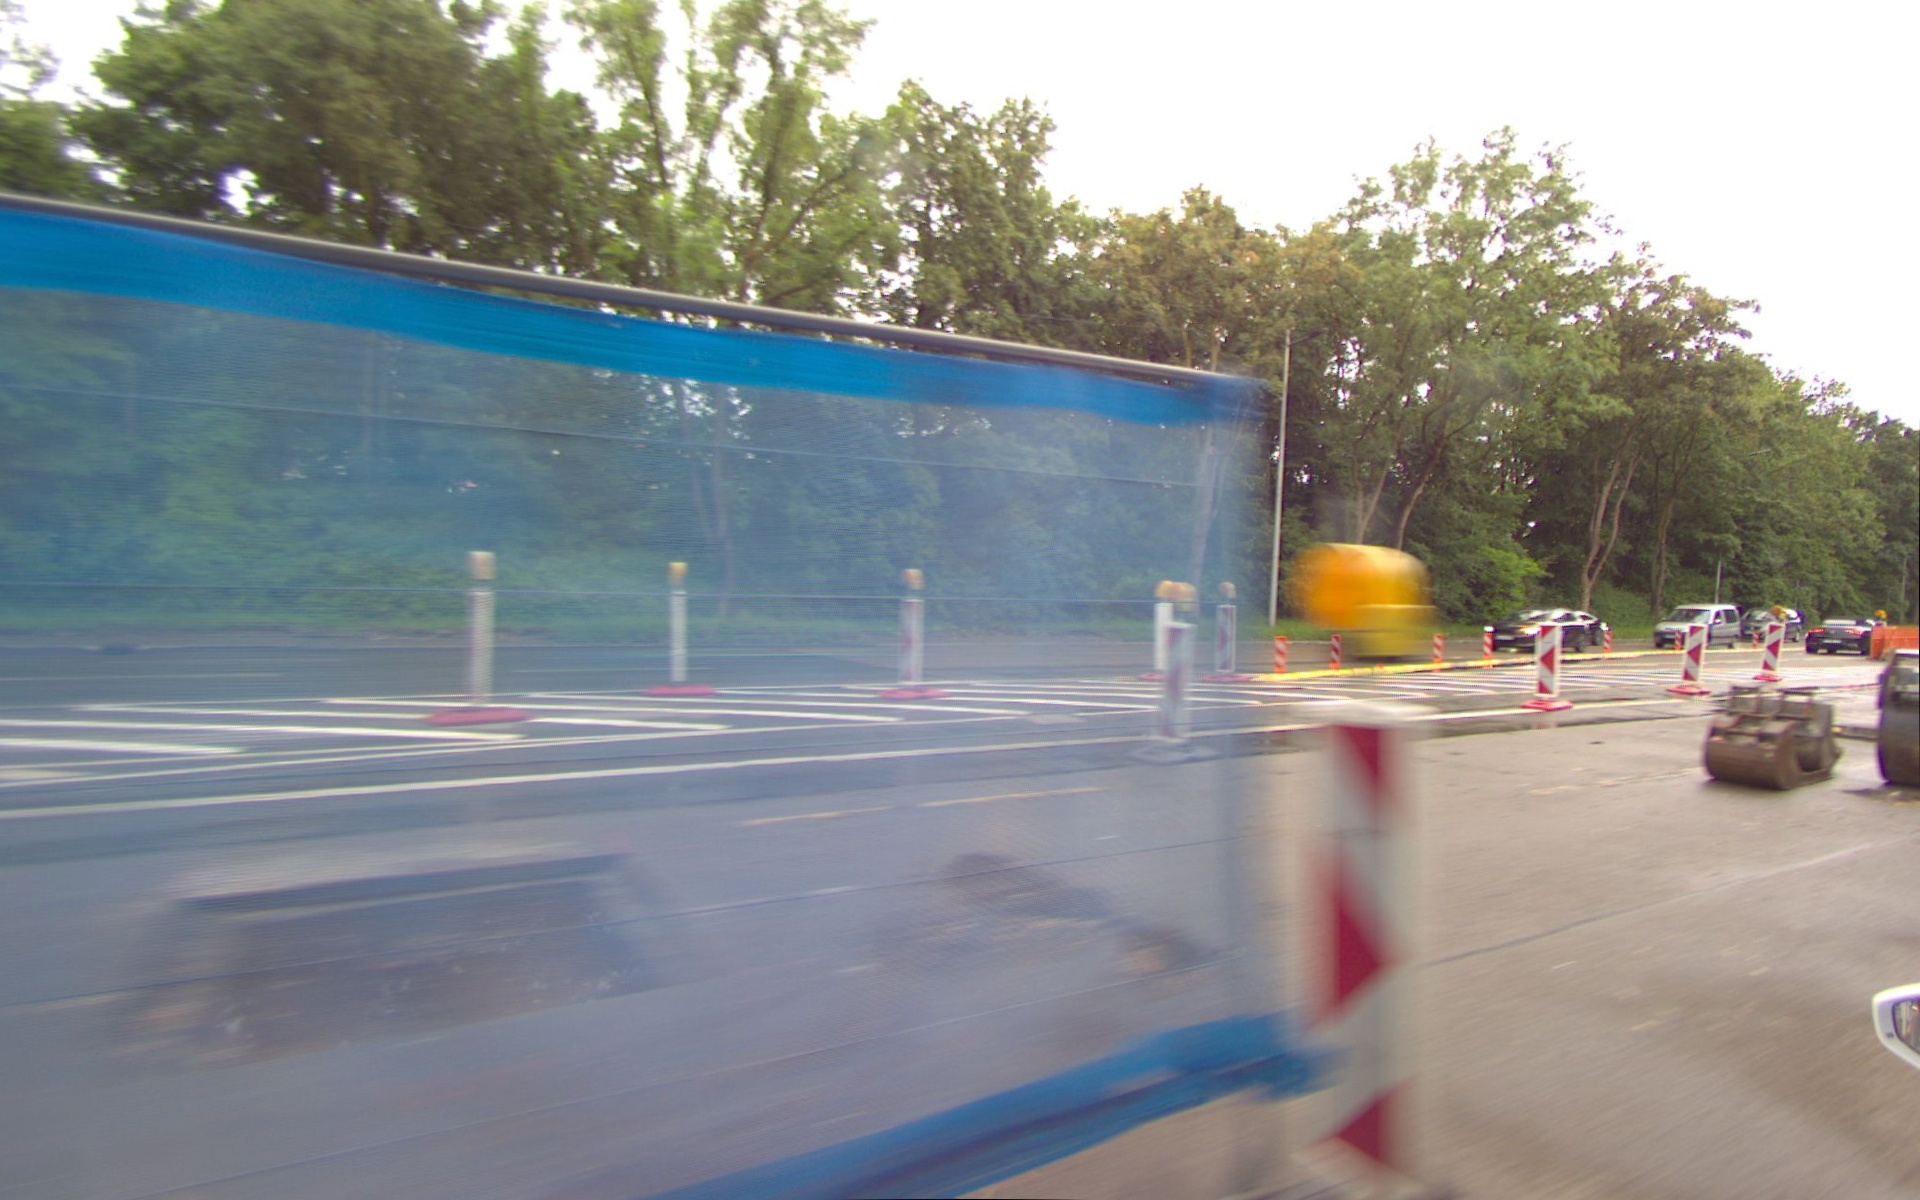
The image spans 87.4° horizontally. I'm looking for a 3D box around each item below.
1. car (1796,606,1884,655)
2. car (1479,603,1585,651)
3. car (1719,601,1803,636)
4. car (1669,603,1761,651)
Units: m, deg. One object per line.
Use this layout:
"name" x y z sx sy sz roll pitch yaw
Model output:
"car" 32.832 1.089 37.431 3.967 1.512 1.846 -2 4 -40
"car" 18.237 0.855 31.961 3.786 1.426 1.418 1 0 -35
"car" 40.814 0.930 51.168 4.600 1.687 1.917 1 0 -32
"car" 28.395 0.997 37.753 4.085 1.718 1.419 1 0 -33
